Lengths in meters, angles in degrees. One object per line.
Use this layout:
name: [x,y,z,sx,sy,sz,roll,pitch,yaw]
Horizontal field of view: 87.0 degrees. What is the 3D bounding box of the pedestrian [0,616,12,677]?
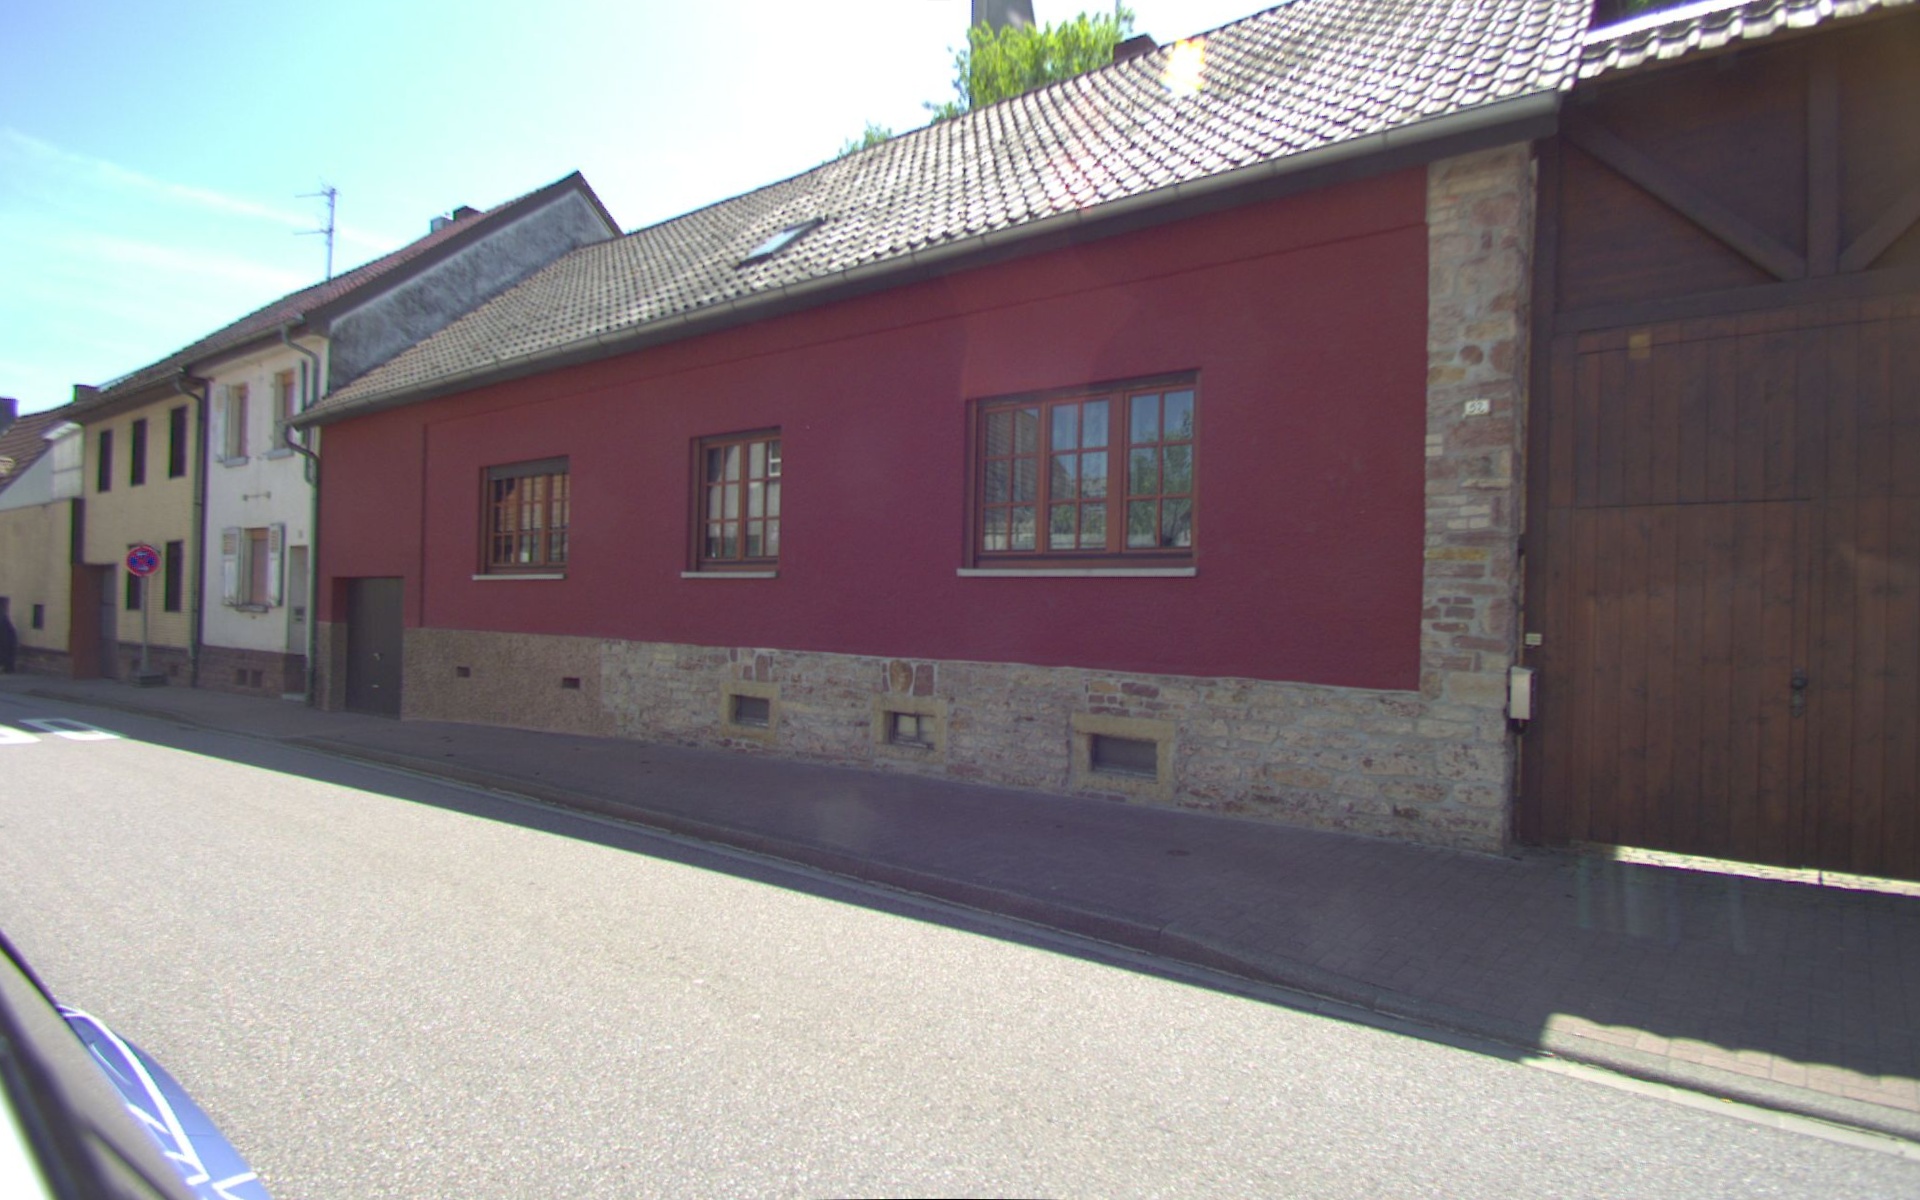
pedestrian: [-25.443,1.220,26.577,0.753,1.576,0.656,0,-1,36]
